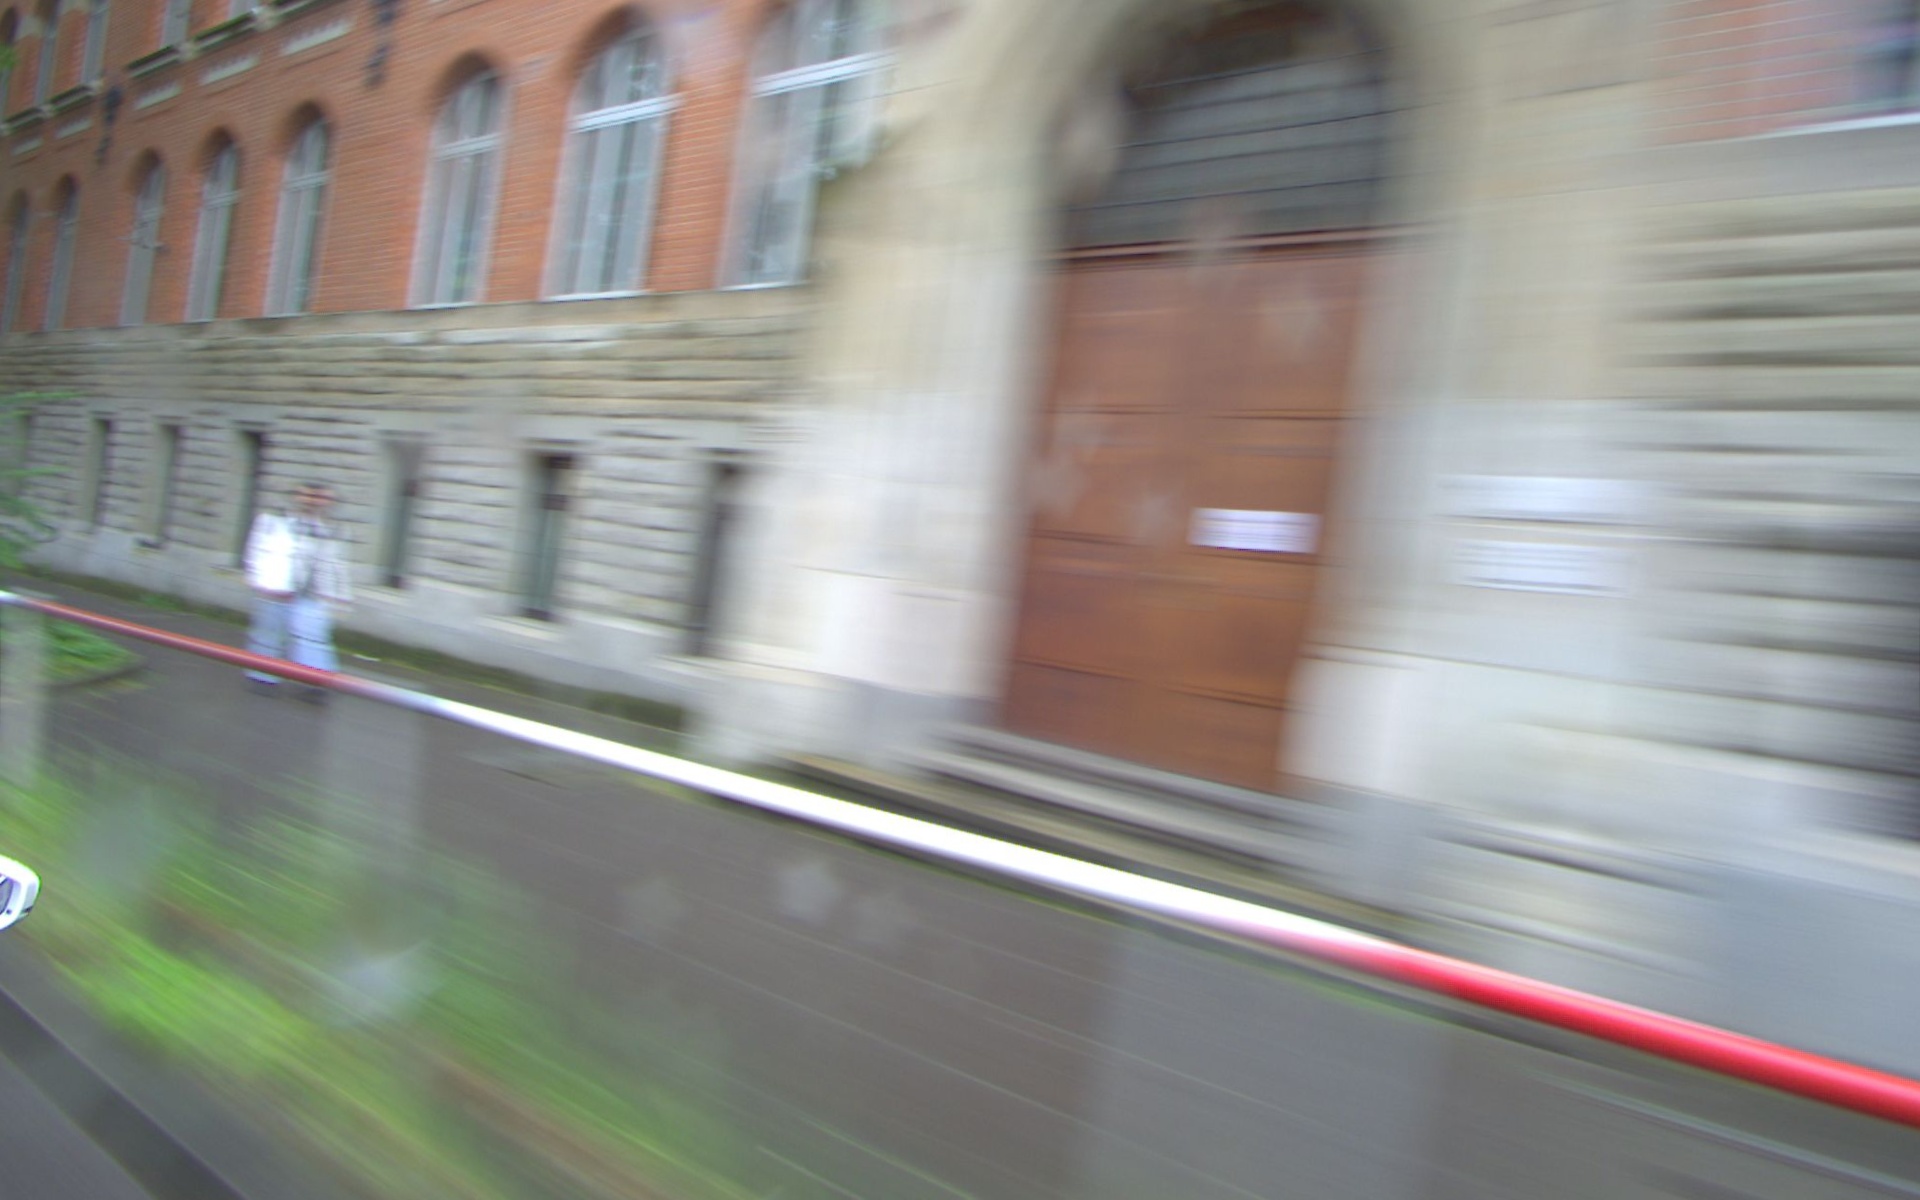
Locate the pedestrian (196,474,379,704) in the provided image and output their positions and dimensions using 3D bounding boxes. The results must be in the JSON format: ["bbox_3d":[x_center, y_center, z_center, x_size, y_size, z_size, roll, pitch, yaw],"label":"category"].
[{"bbox_3d":[-5.372,-0.078,8.046,0.846,1.699,0.823,6,0,35],"label":"pedestrian"}]
